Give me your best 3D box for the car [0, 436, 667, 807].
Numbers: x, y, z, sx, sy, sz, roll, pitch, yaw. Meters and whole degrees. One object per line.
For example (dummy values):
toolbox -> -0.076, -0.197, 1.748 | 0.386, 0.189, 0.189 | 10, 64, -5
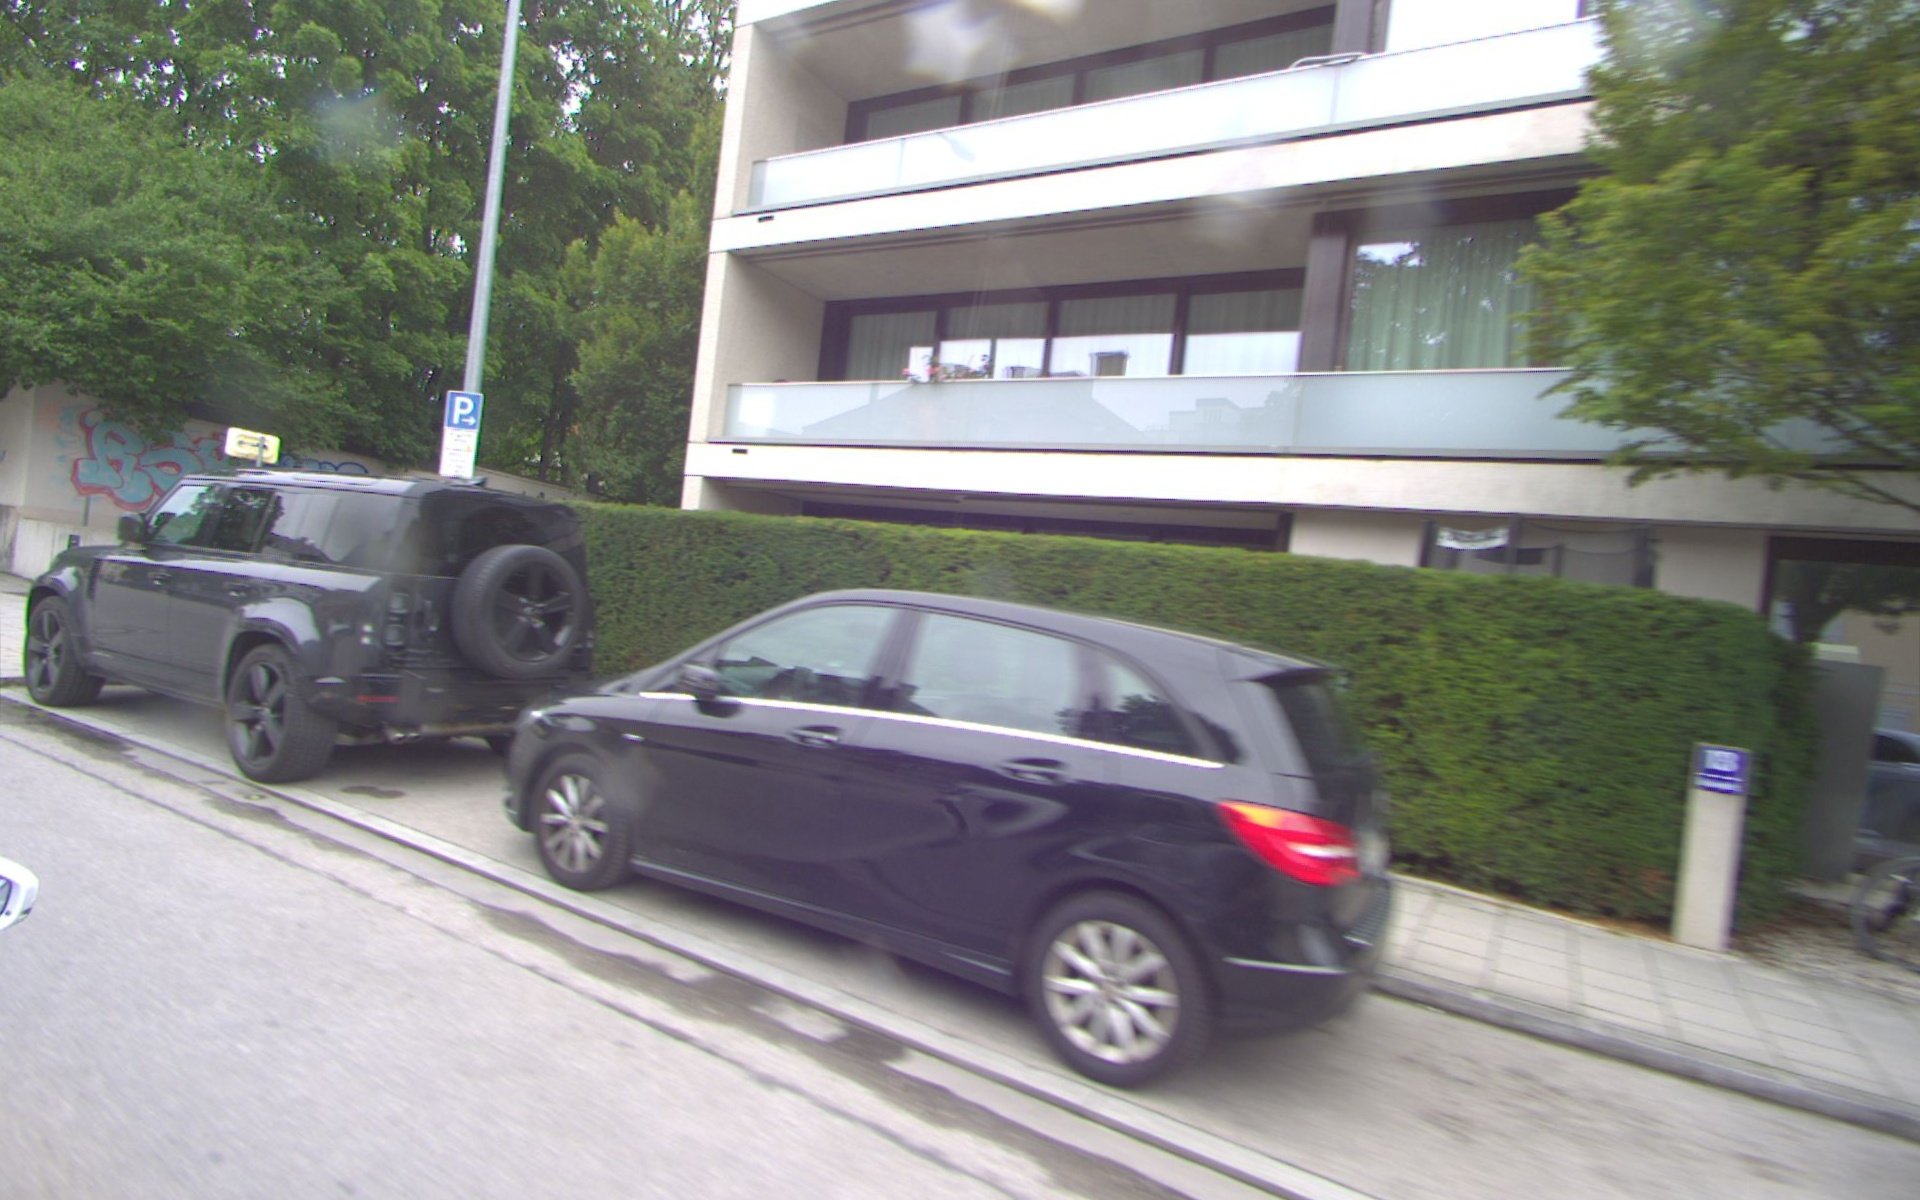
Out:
car -> -4.783, -0.009, 7.375 | 4.991, 1.894, 1.992 | 6, -1, 29

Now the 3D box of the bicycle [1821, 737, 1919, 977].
bicycle -> 5.992, 1.536, 6.171 | 0.882, 1.210, 2.028 | 7, 1, 43

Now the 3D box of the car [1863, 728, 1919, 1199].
car -> 4.564, 1.351, 1.912 | 3.823, 1.499, 1.750 | 7, 0, 31

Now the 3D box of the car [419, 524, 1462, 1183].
car -> -0.275, 0.698, 4.713 | 4.491, 1.558, 1.751 | 7, 0, 29
